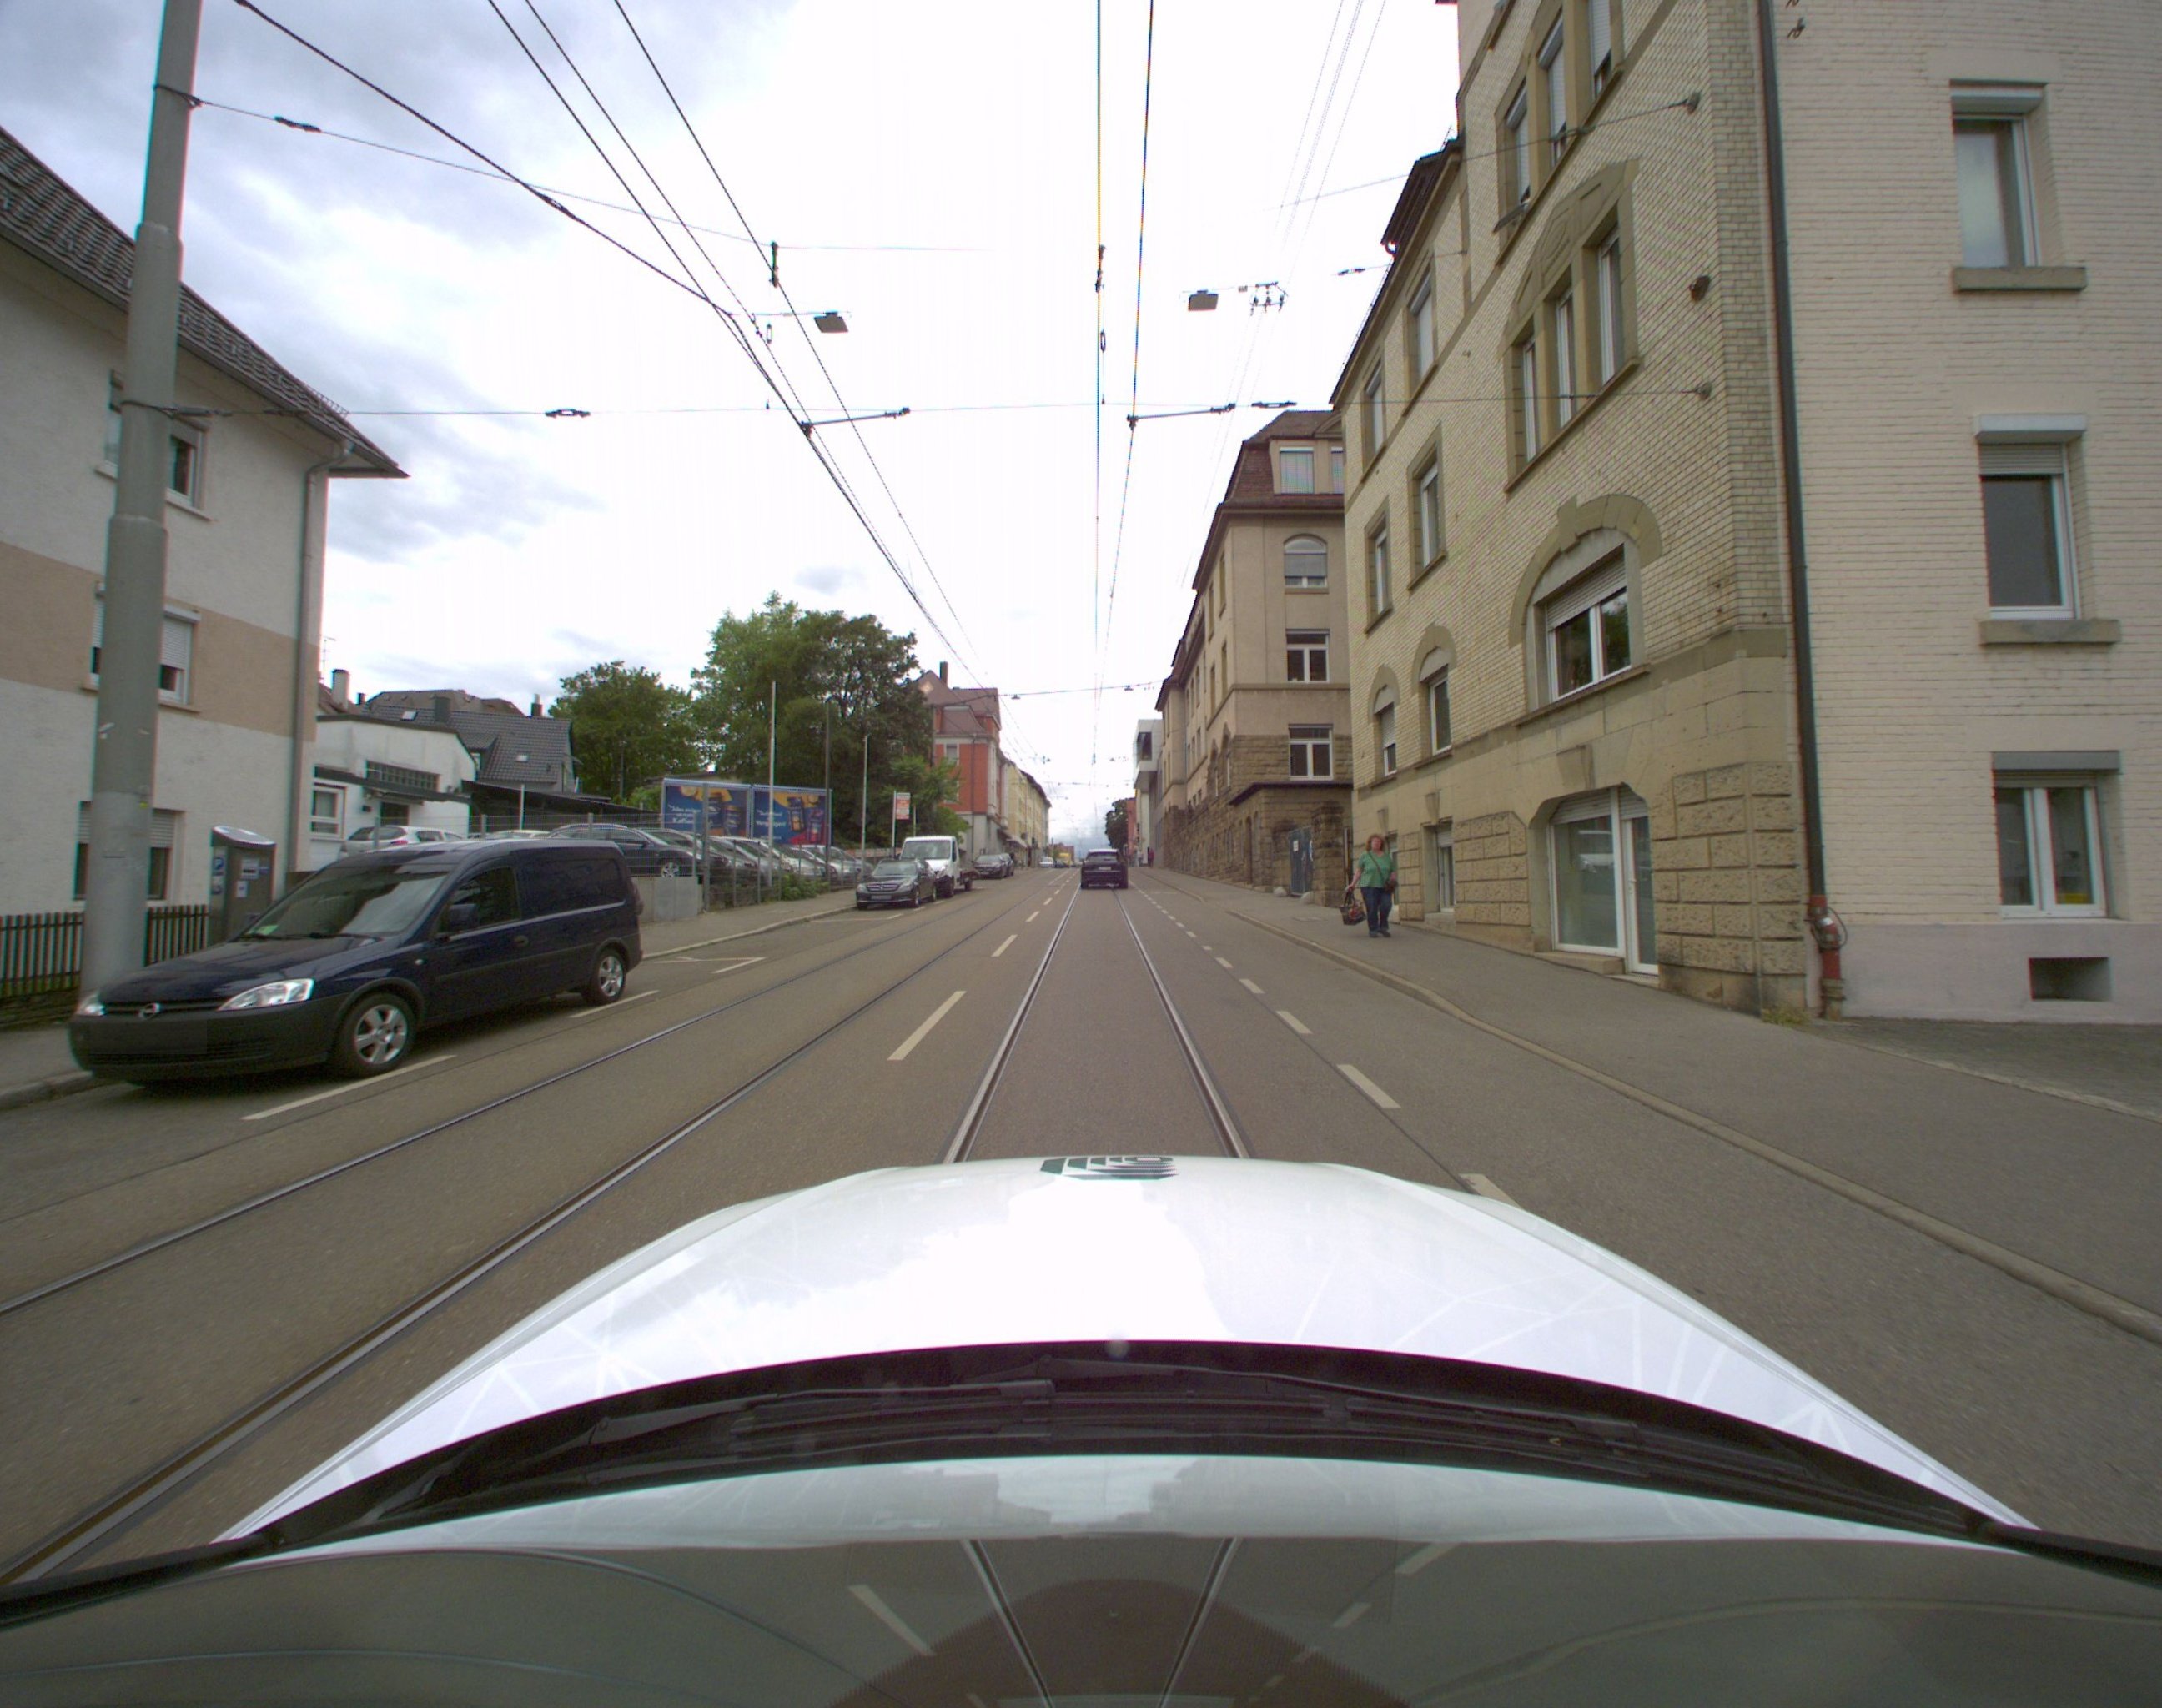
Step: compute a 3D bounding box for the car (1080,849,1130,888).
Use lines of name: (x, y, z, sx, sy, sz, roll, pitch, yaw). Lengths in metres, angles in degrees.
car: (1.035, 0.585, 35.179, 1.986, 1.563, 4.291, 0, 0, 1)

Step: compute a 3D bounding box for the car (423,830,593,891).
car: (-15.077, 0.155, 21.724, 1.676, 1.494, 3.891, 0, 0, 2)

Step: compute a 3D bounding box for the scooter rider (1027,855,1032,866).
scooter rider: (-7.335, 0.965, 115.536, 0.647, 1.585, 0.765, 0, 0, -3)

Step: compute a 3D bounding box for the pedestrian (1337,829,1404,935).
pedestrian: (4.786, 0.459, 13.492, 0.865, 1.686, 0.665, -2, 0, 7)

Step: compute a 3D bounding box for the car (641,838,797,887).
car: (-11.099, 0.240, 25.143, 4.047, 1.445, 1.688, 0, 0, 0)

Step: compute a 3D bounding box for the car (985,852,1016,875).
car: (-5.155, 0.598, 52.679, 1.510, 1.446, 3.711, 0, 0, 1)

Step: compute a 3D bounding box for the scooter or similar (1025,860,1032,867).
scooter or similar: (-7.450, 1.328, 115.525, 1.025, 0.919, 0.472, 0, 0, -4)

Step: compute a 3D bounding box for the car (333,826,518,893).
car: (-17.178, 0.131, 21.613, 1.676, 1.613, 3.891, 0, 0, 2)

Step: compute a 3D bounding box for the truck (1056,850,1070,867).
truck: (-3.361, 0.801, 153.162, 2.294, 3.036, 9.034, 0, 0, 1)

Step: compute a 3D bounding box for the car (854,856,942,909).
car: (-5.599, 0.824, 25.454, 1.692, 1.433, 4.480, -2, 0, -1)

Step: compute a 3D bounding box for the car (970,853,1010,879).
car: (-5.214, 0.658, 47.085, 1.706, 1.446, 4.291, 0, 0, 1)

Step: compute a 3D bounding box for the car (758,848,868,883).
car: (-10.697, 0.461, 32.686, 3.863, 1.357, 1.688, 0, 0, 0)

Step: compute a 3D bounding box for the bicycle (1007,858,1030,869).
bicycle: (-5.432, 0.832, 70.723, 1.904, 1.000, 0.479, 0, 0, 1)

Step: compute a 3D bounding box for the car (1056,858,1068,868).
car: (-3.088, 1.459, 132.947, 1.848, 1.607, 4.297, 0, 0, 1)

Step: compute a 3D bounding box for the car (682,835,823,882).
car: (-11.021, 0.147, 27.493, 4.047, 1.494, 1.688, 0, 0, 0)

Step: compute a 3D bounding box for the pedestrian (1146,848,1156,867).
pedestrian: (5.922, 0.299, 69.161, 0.788, 1.667, 0.799, 0, 0, 3)

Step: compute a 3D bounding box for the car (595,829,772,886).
car: (-10.987, 0.093, 22.683, 4.047, 1.524, 1.739, 0, 0, 0)

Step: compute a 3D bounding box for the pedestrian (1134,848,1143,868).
pedestrian: (4.884, 0.341, 69.199, 0.788, 1.667, 0.799, 0, 0, 3)

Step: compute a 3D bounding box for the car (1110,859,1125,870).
car: (5.293, 1.562, 118.420, 1.986, 1.563, 4.291, 0, 0, 1)

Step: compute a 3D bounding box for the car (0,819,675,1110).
car: (-5.763, 0.684, 7.302, 1.737, 1.735, 4.522, -2, 0, 2)

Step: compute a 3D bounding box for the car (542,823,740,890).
car: (-11.033, 0.064, 20.612, 4.047, 1.552, 1.688, 1, 0, 0)

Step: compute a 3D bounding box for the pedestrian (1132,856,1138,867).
pedestrian: (7.924, 1.070, 119.947, 0.788, 1.667, 0.799, 0, 0, 3)

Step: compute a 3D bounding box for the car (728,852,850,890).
car: (-10.728, 0.611, 30.120, 3.863, 1.357, 1.688, 0, 0, 0)

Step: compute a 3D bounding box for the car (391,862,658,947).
car: (-11.764, 1.037, 17.449, 4.324, 1.345, 1.861, -5, 0, 0)

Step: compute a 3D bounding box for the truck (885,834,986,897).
truck: (-5.513, 0.394, 32.229, 2.271, 2.188, 8.029, 0, 0, 2)

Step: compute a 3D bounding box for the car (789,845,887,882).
car: (-10.437, 0.384, 35.299, 3.965, 1.551, 1.680, 0, 0, -14)

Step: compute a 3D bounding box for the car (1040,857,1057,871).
car: (-4.027, 1.250, 100.389, 1.848, 1.607, 4.297, 0, 0, 1)

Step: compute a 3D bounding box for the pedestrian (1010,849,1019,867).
pedestrian: (-6.641, 0.410, 81.323, 0.772, 1.776, 0.650, 0, 0, 2)
